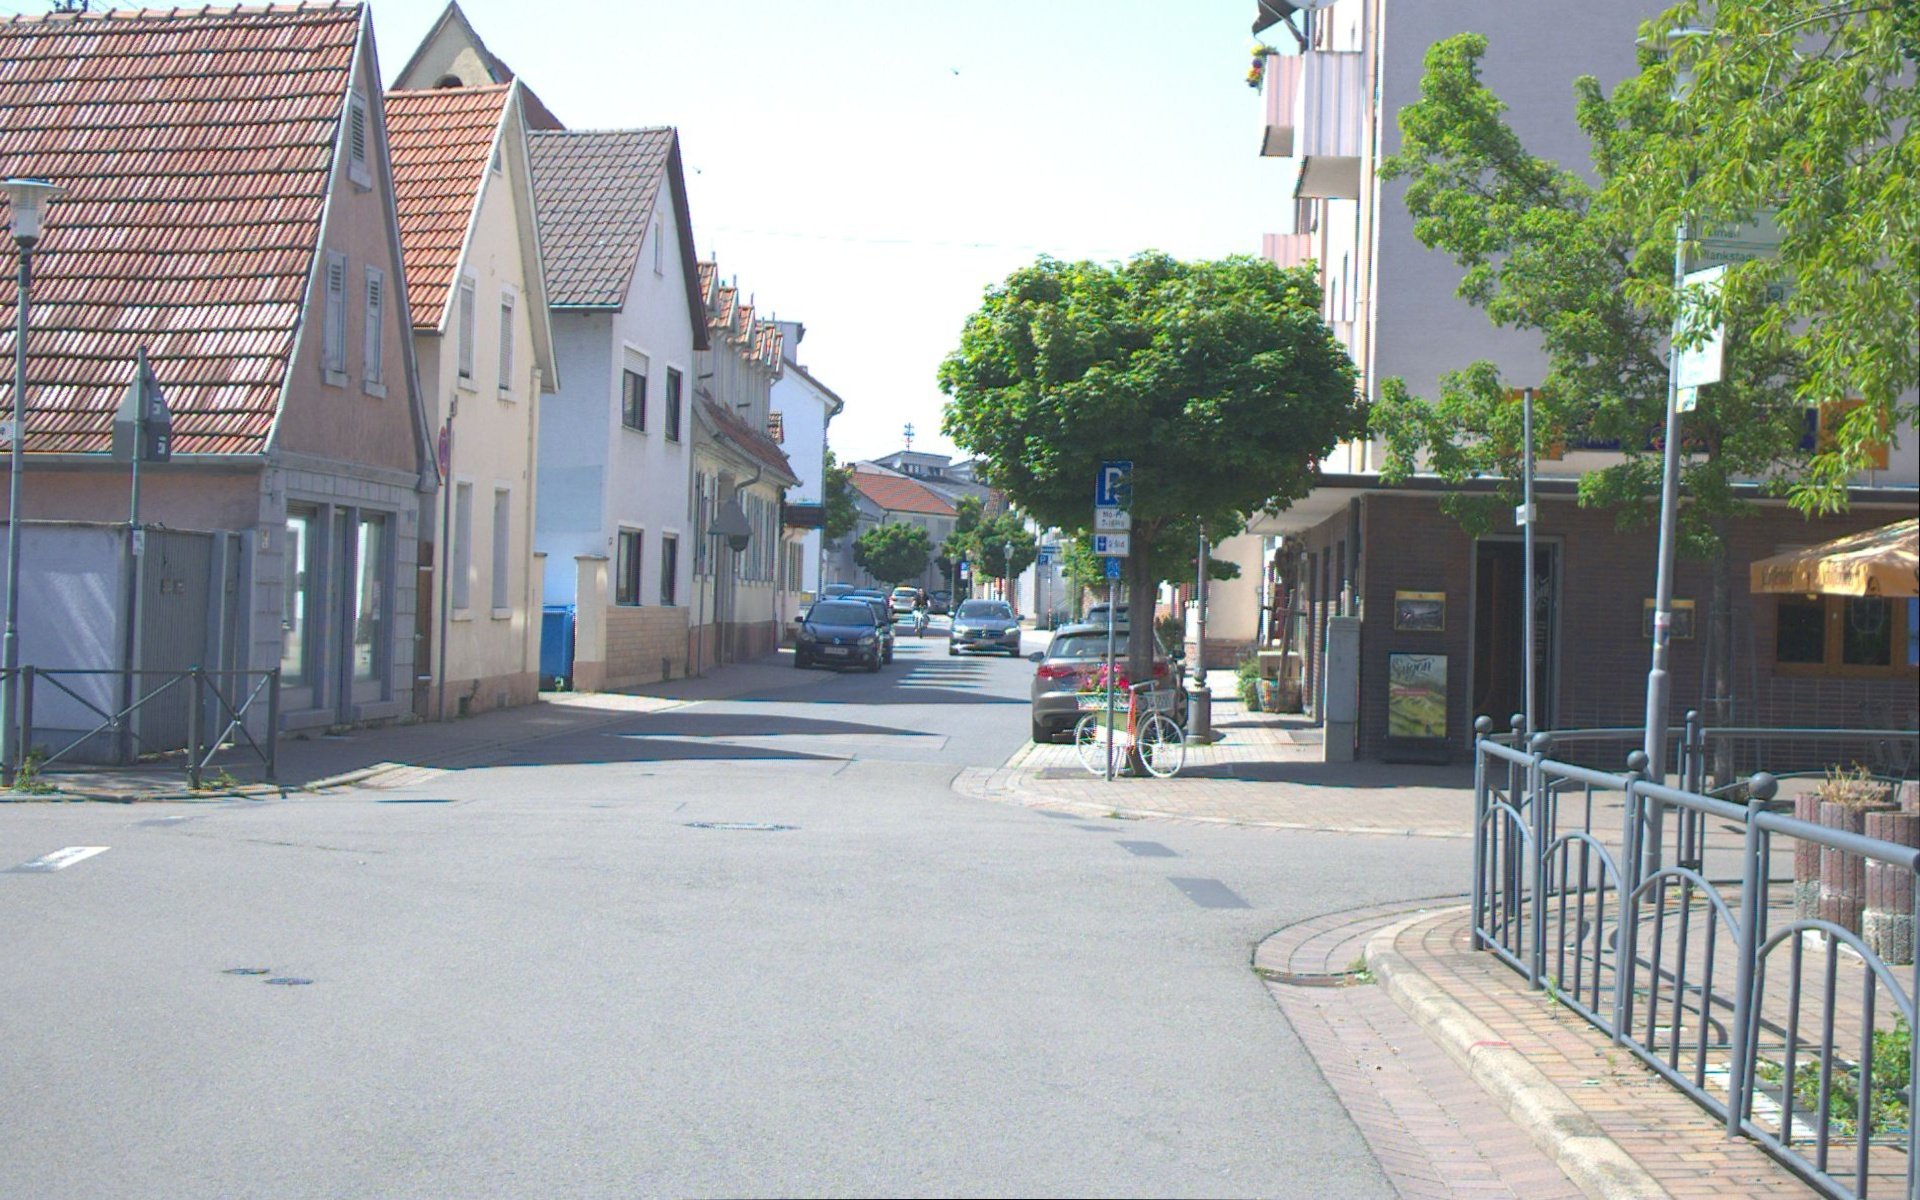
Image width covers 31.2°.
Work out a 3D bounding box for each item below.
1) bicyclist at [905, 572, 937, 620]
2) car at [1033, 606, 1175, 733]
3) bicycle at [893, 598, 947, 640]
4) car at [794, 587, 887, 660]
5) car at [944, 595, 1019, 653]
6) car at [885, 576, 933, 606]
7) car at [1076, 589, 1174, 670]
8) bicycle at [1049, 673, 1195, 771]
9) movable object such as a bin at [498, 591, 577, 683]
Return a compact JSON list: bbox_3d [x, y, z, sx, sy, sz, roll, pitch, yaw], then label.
[{"bbox_3d":[-1.333,-0.141,117.528,1.046,1.632,1.128,1,0,-3],"label":"bicyclist"},{"bbox_3d":[1.797,0.817,41.985,1.576,1.449,3.485,1,0,5],"label":"car"},{"bbox_3d":[-1.377,0.634,117.347,1.623,1.366,3.926,1,0,-3],"label":"bicycle"},{"bbox_3d":[-2.518,0.478,73.288,1.663,1.471,4.134,1,0,2],"label":"car"},{"bbox_3d":[0.590,0.642,90.862,1.909,1.476,4.844,1,-1,1],"label":"car"},{"bbox_3d":[-2.821,-0.495,190.043,2.027,1.592,4.507,1,0,7],"label":"car"},{"bbox_3d":[3.636,0.629,75.799,2.043,1.683,4.841,1,0,3],"label":"car"},{"bbox_3d":[1.565,1.175,33.358,1.413,0.894,0.464,0,0,40],"label":"bicycle"},{"bbox_3d":[-6.403,0.561,52.061,1.102,1.361,0.389,1,0,7],"label":"movable object such as a bin"}]
